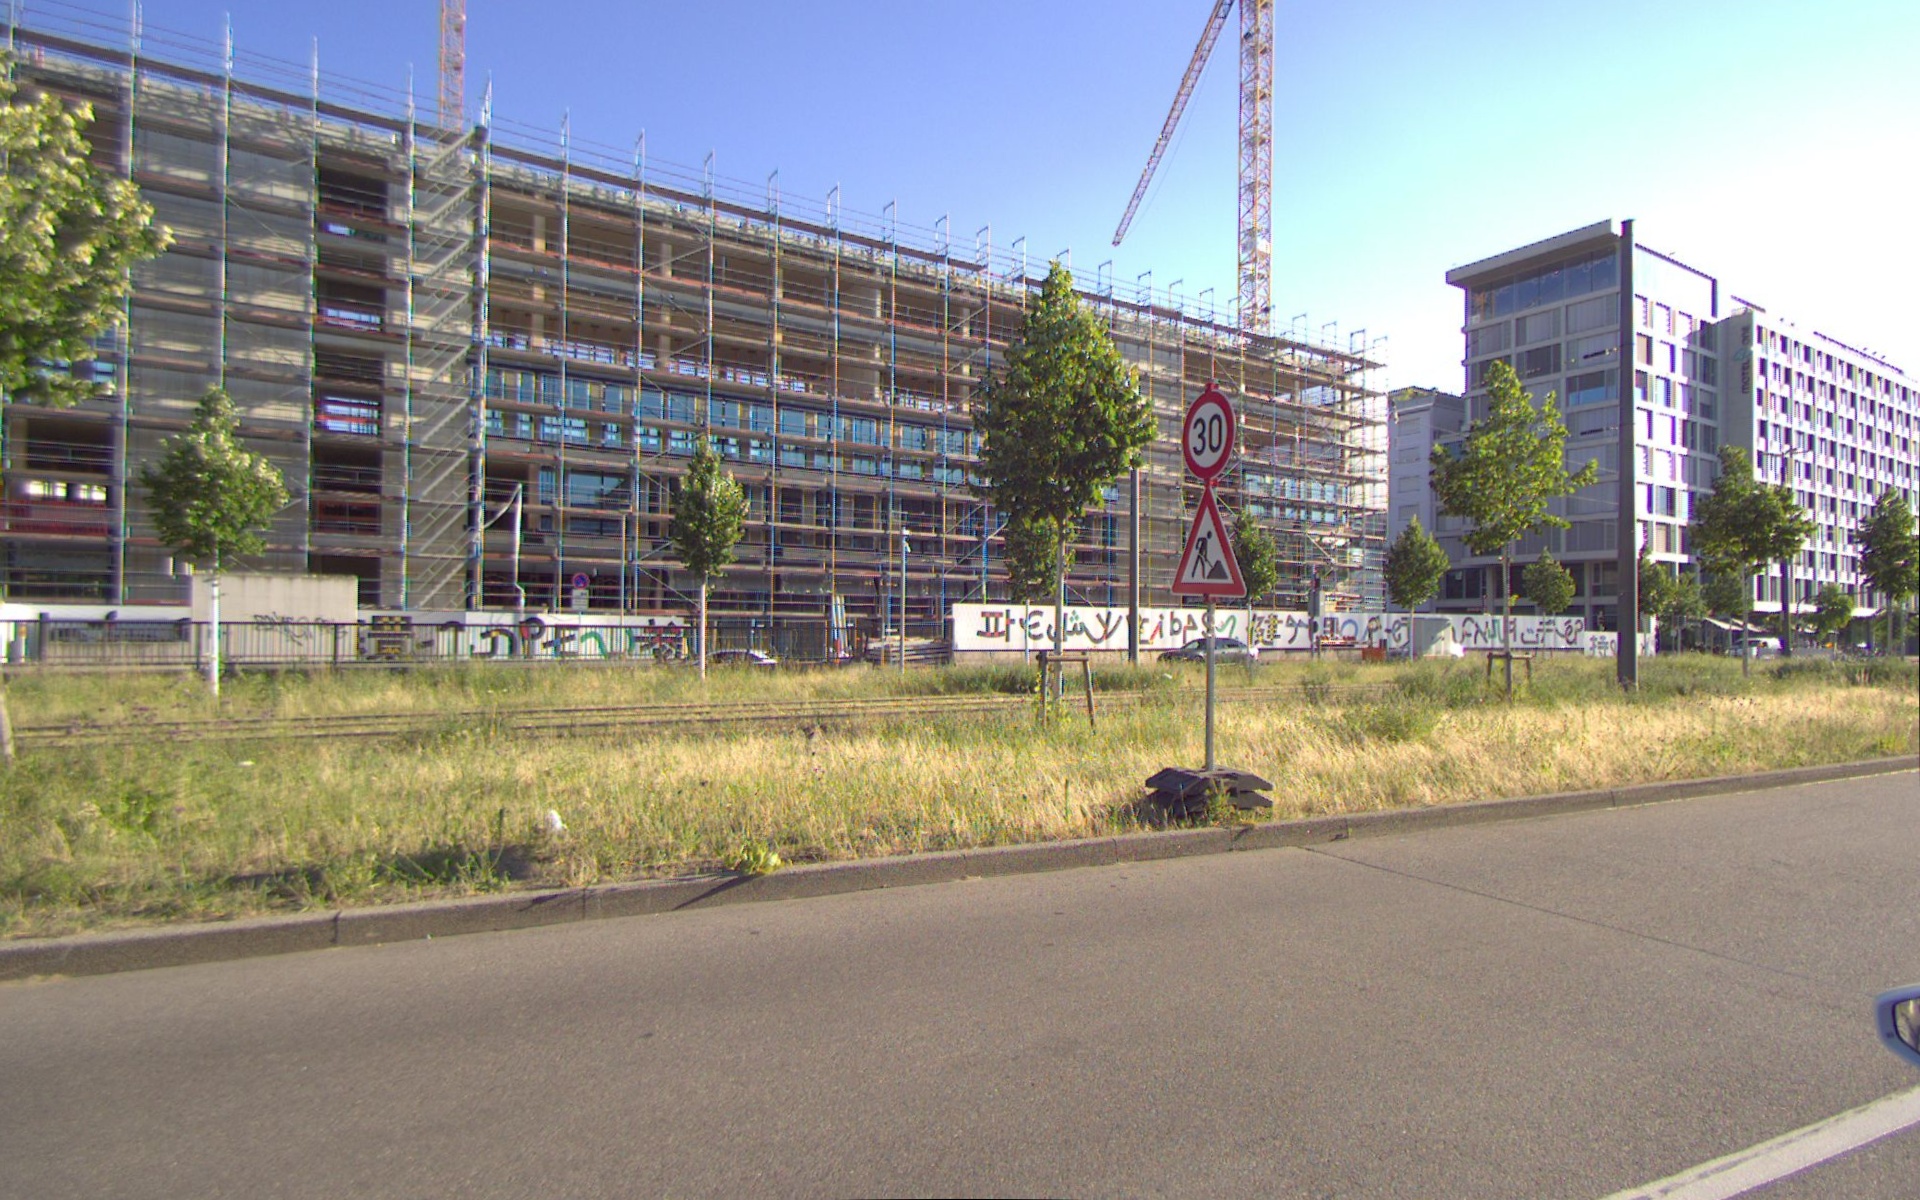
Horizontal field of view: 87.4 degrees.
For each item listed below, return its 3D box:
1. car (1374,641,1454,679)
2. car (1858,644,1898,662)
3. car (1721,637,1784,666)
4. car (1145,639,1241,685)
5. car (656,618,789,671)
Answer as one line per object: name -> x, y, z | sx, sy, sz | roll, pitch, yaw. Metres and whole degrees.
car -> 22.080, 2.915, 48.839 | 3.596, 1.706, 1.781 | 2, 0, -31
car -> 80.270, 4.613, 87.814 | 3.543, 1.461, 1.699 | 2, 0, -32
car -> 49.984, 3.248, 63.353 | 3.591, 1.706, 1.784 | 2, 0, -27
car -> 9.543, 2.513, 41.156 | 3.596, 1.706, 1.781 | 2, 0, -31
car -> -7.140, 1.330, 30.290 | 3.543, 1.461, 1.699 | 2, 0, -32
